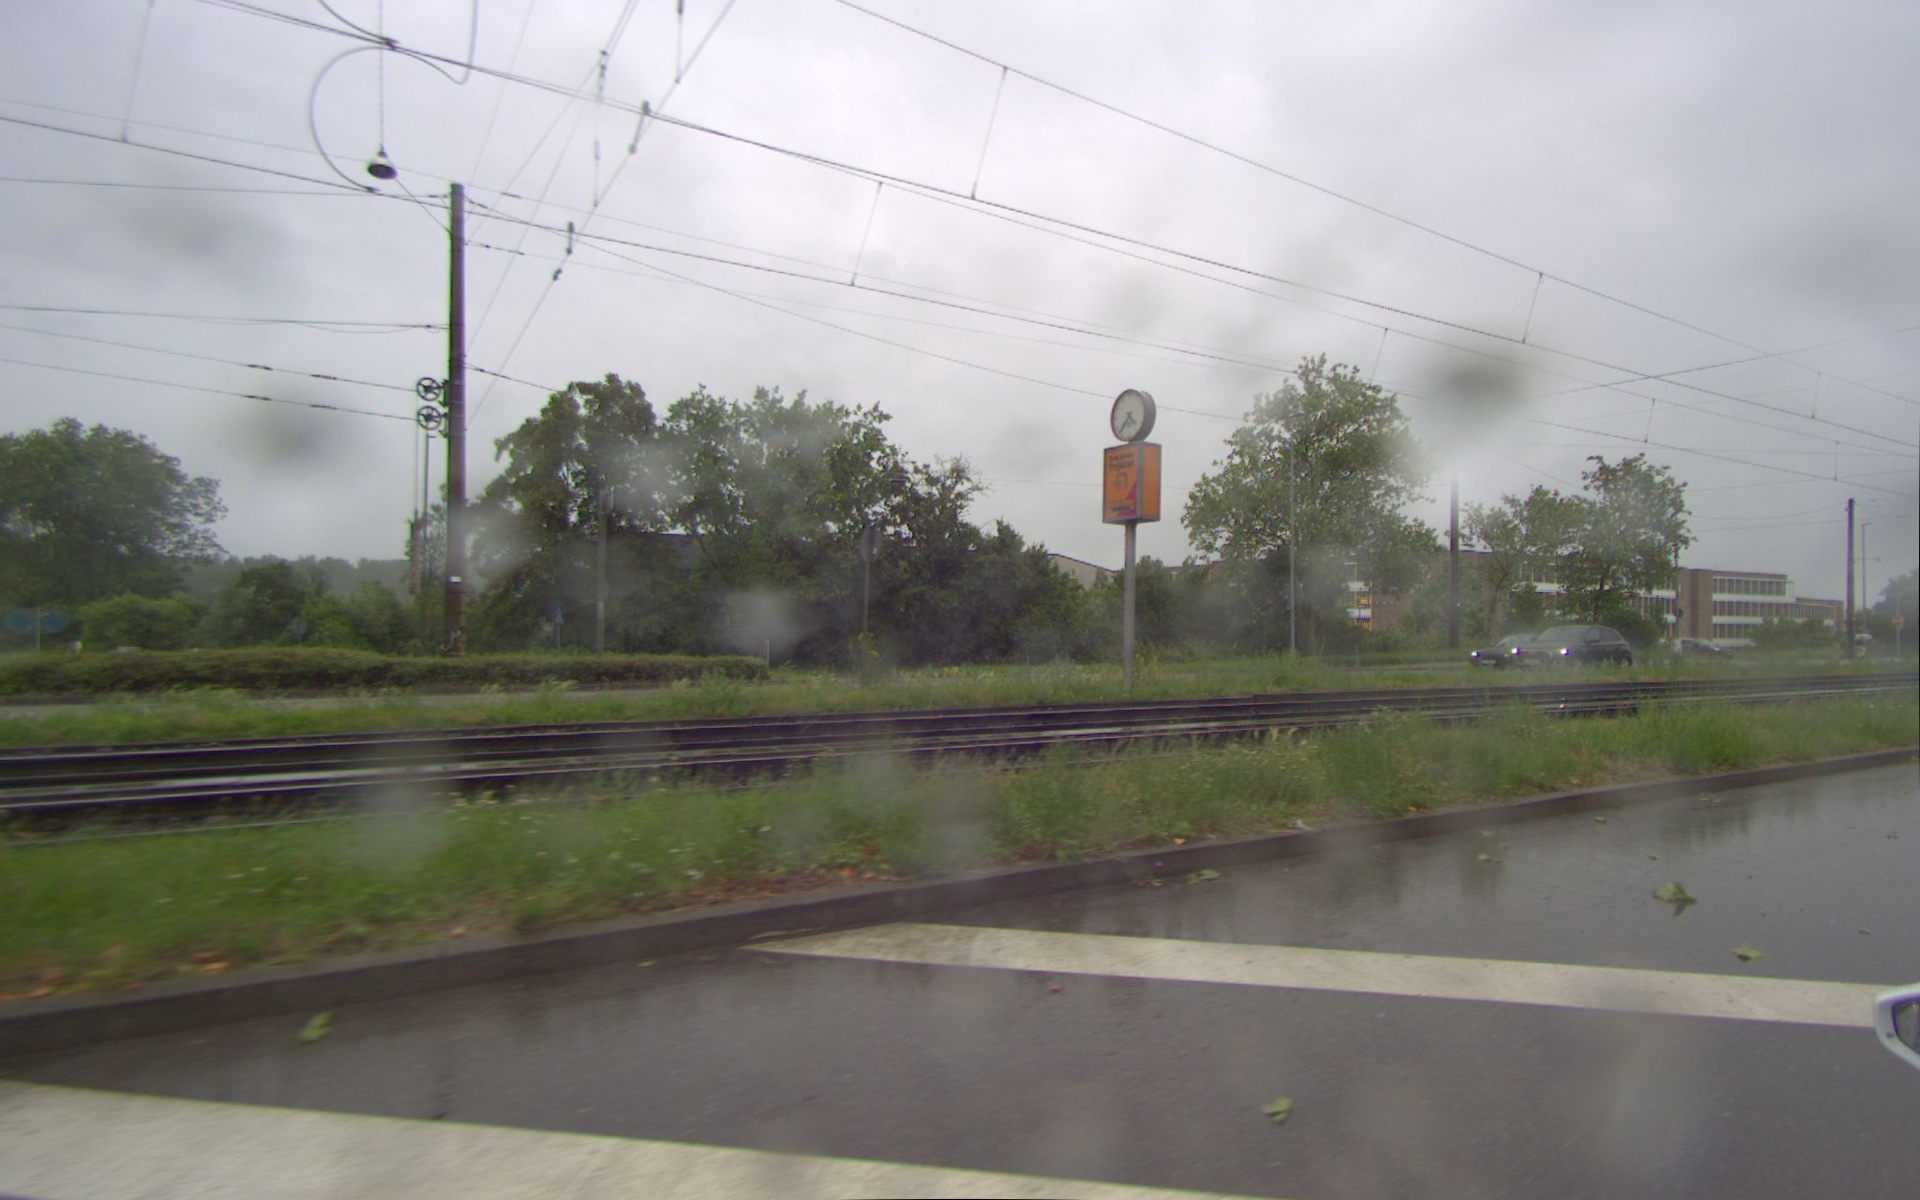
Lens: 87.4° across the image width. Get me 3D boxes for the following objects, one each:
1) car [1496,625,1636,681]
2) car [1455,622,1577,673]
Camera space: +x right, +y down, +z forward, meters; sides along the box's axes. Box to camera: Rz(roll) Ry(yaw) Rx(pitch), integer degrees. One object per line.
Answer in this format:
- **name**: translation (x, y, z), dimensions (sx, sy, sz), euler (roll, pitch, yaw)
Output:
- **car**: translation (19.266, 1.642, 31.856), dimensions (4.937, 1.637, 1.931), euler (1, -1, -34)
- **car**: translation (20.071, 1.688, 36.206), dimensions (4.730, 1.709, 1.931), euler (1, -1, -34)
